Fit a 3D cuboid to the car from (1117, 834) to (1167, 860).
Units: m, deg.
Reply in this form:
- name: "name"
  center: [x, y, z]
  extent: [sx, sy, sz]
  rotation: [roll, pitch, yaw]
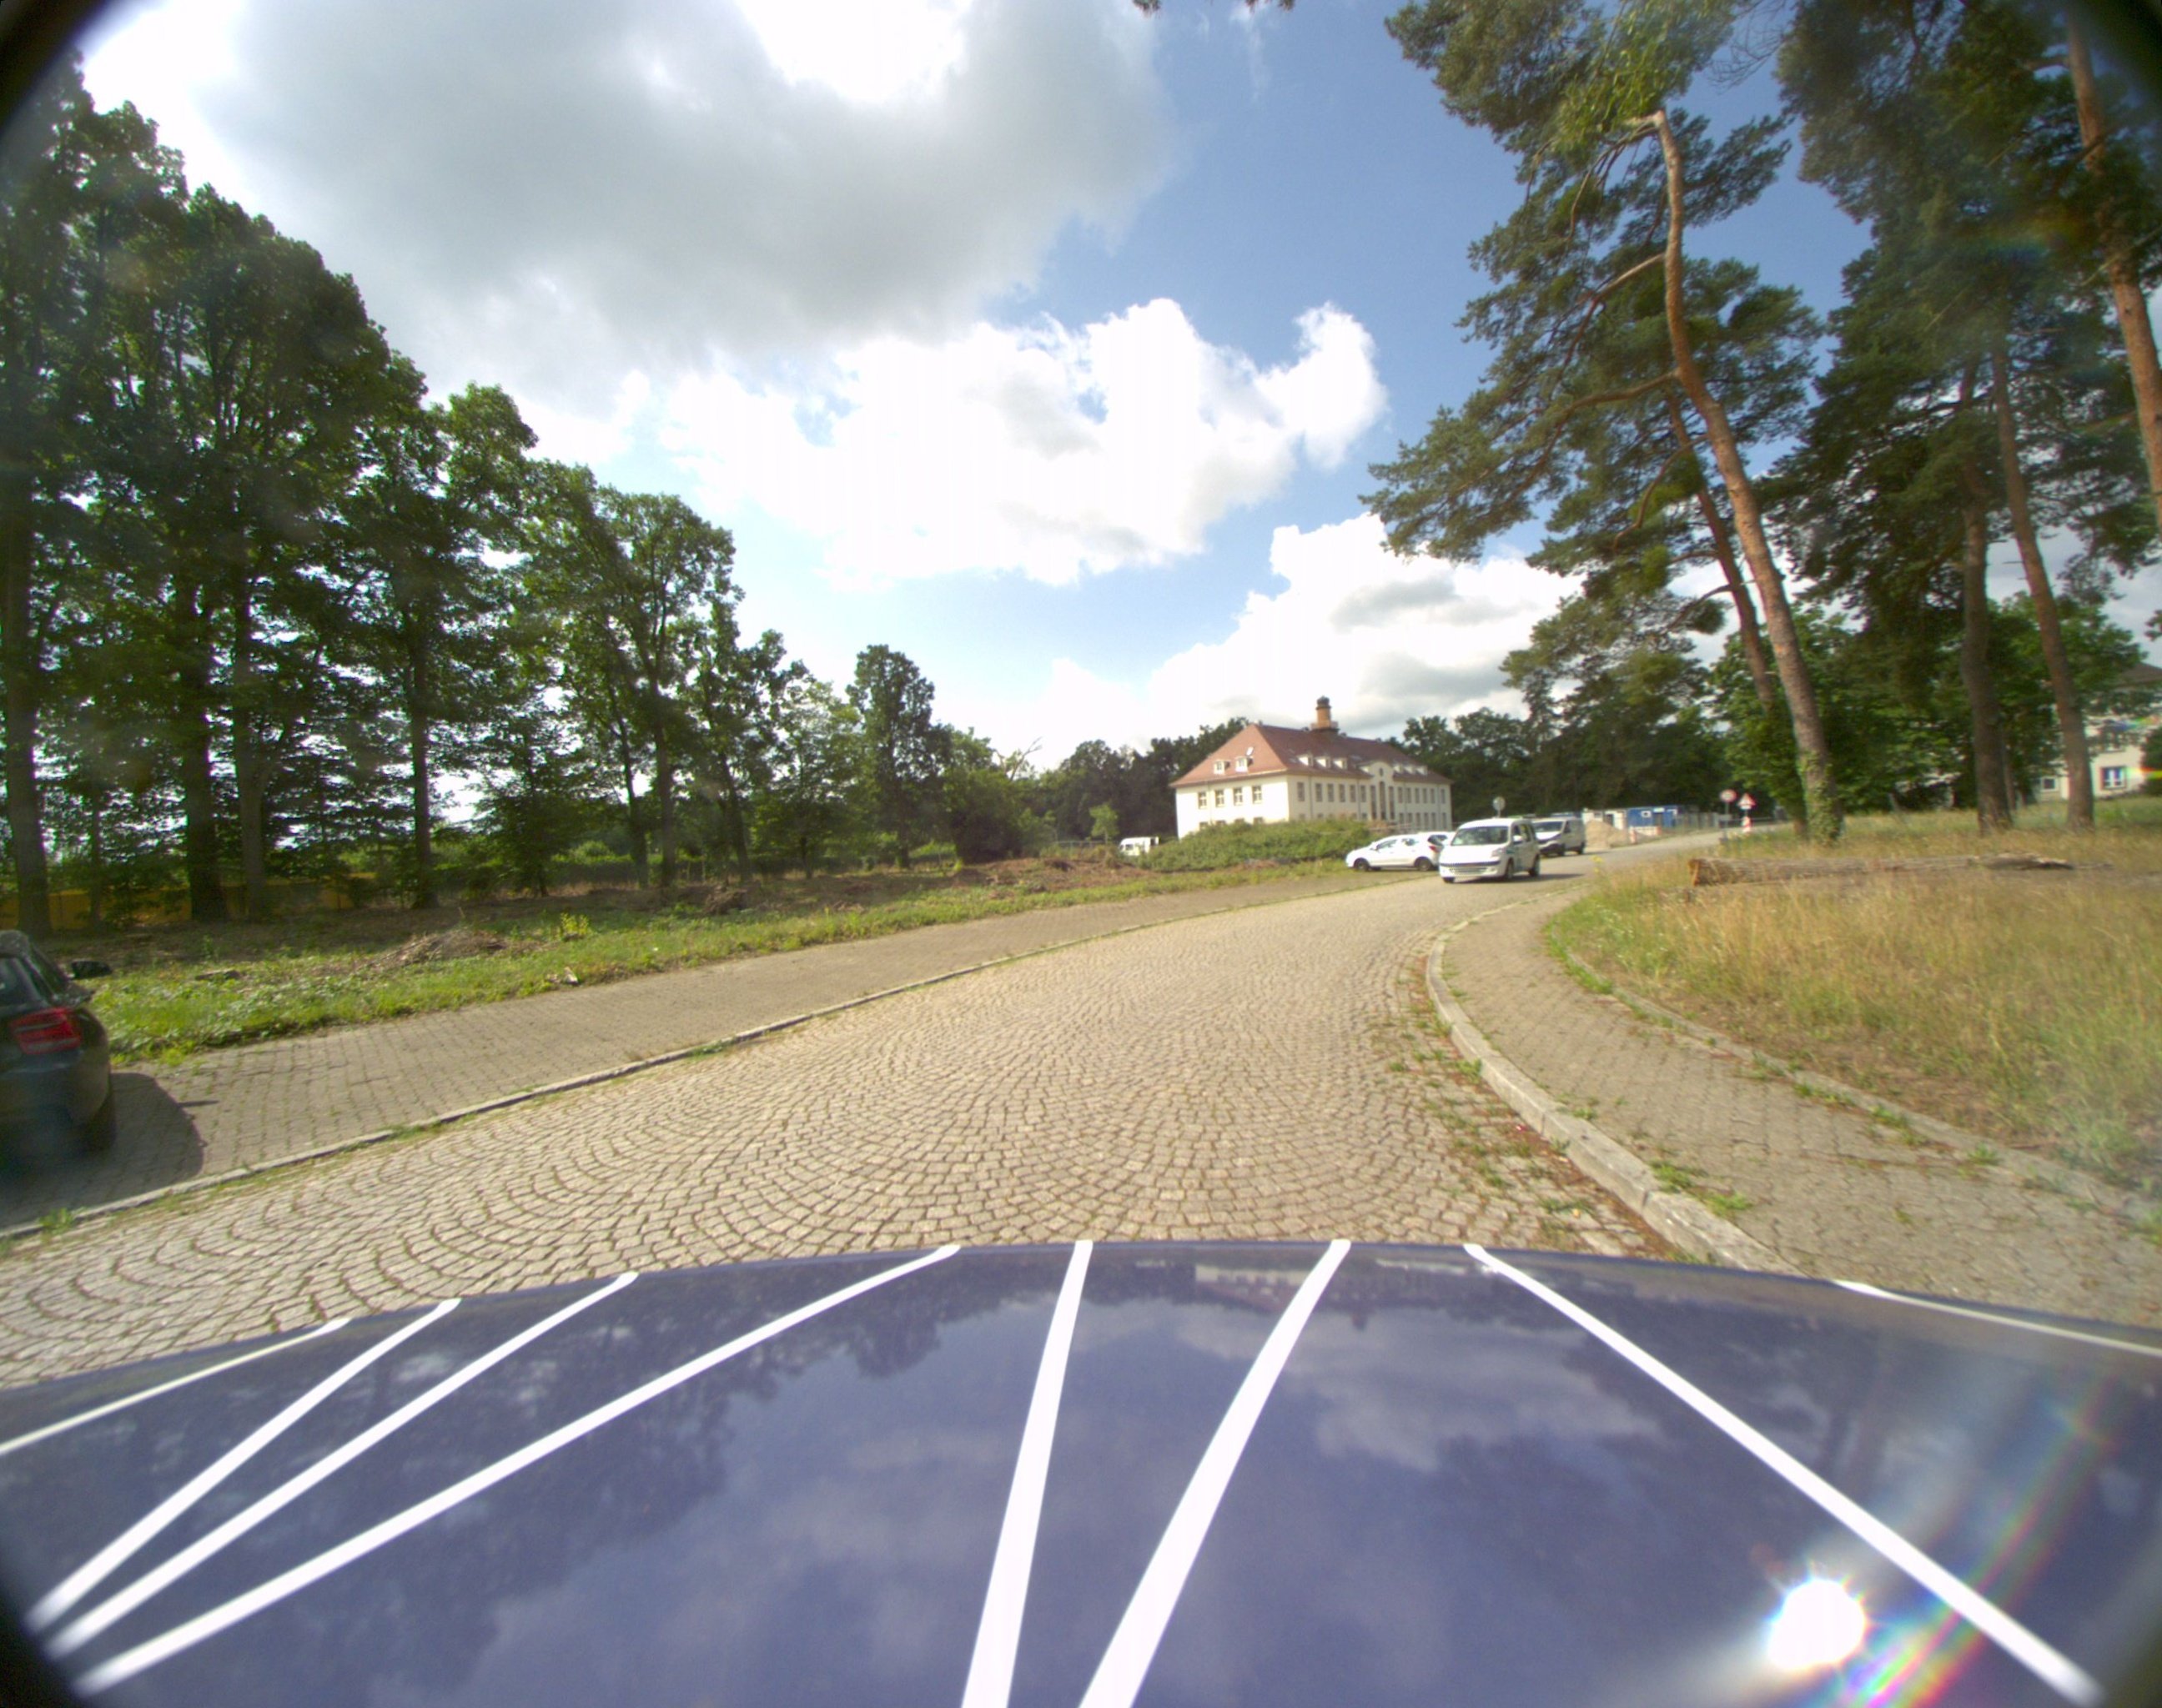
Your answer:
- name: "car"
  center: [6.587, -0.718, 82.838]
  extent: [2.250, 2.576, 5.424]
  rotation: [-4, 1, -36]

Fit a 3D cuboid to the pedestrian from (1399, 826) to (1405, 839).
- name: "pedestrian"
  center: [44.821, -2.993, 106.205]
  extent: [0.507, 1.777, 0.490]
  rotation: [-4, 1, -22]

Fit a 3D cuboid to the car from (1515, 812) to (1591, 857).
- name: "car"
  center: [24.560, -1.047, 39.417]
  extent: [5.688, 2.041, 1.915]
  rotation: [-4, 1, -43]

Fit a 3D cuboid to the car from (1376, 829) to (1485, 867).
- name: "car"
  center: [15.400, -0.251, 33.560]
  extent: [3.988, 1.498, 1.749]
  rotation: [-1, 2, 43]

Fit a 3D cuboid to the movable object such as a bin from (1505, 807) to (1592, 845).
- name: "movable object such as a bin"
  center: [34.518, -2.079, 56.092]
  extent: [5.659, 2.507, 2.146]
  rotation: [-3, 1, -16]

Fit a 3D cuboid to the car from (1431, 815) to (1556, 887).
- name: "car"
  center: [12.260, -0.132, 22.421]
  extent: [4.839, 1.858, 1.835]
  rotation: [-3, 0, -45]

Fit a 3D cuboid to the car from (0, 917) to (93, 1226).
- name: "car"
  center: [-7.896, 1.305, 4.877]
  extent: [4.326, 1.491, 1.833]
  rotation: [-1, 1, 38]

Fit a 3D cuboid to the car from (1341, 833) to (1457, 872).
- name: "car"
  center: [13.134, -0.056, 31.532]
  extent: [4.044, 1.456, 1.707]
  rotation: [-1, 2, 43]
